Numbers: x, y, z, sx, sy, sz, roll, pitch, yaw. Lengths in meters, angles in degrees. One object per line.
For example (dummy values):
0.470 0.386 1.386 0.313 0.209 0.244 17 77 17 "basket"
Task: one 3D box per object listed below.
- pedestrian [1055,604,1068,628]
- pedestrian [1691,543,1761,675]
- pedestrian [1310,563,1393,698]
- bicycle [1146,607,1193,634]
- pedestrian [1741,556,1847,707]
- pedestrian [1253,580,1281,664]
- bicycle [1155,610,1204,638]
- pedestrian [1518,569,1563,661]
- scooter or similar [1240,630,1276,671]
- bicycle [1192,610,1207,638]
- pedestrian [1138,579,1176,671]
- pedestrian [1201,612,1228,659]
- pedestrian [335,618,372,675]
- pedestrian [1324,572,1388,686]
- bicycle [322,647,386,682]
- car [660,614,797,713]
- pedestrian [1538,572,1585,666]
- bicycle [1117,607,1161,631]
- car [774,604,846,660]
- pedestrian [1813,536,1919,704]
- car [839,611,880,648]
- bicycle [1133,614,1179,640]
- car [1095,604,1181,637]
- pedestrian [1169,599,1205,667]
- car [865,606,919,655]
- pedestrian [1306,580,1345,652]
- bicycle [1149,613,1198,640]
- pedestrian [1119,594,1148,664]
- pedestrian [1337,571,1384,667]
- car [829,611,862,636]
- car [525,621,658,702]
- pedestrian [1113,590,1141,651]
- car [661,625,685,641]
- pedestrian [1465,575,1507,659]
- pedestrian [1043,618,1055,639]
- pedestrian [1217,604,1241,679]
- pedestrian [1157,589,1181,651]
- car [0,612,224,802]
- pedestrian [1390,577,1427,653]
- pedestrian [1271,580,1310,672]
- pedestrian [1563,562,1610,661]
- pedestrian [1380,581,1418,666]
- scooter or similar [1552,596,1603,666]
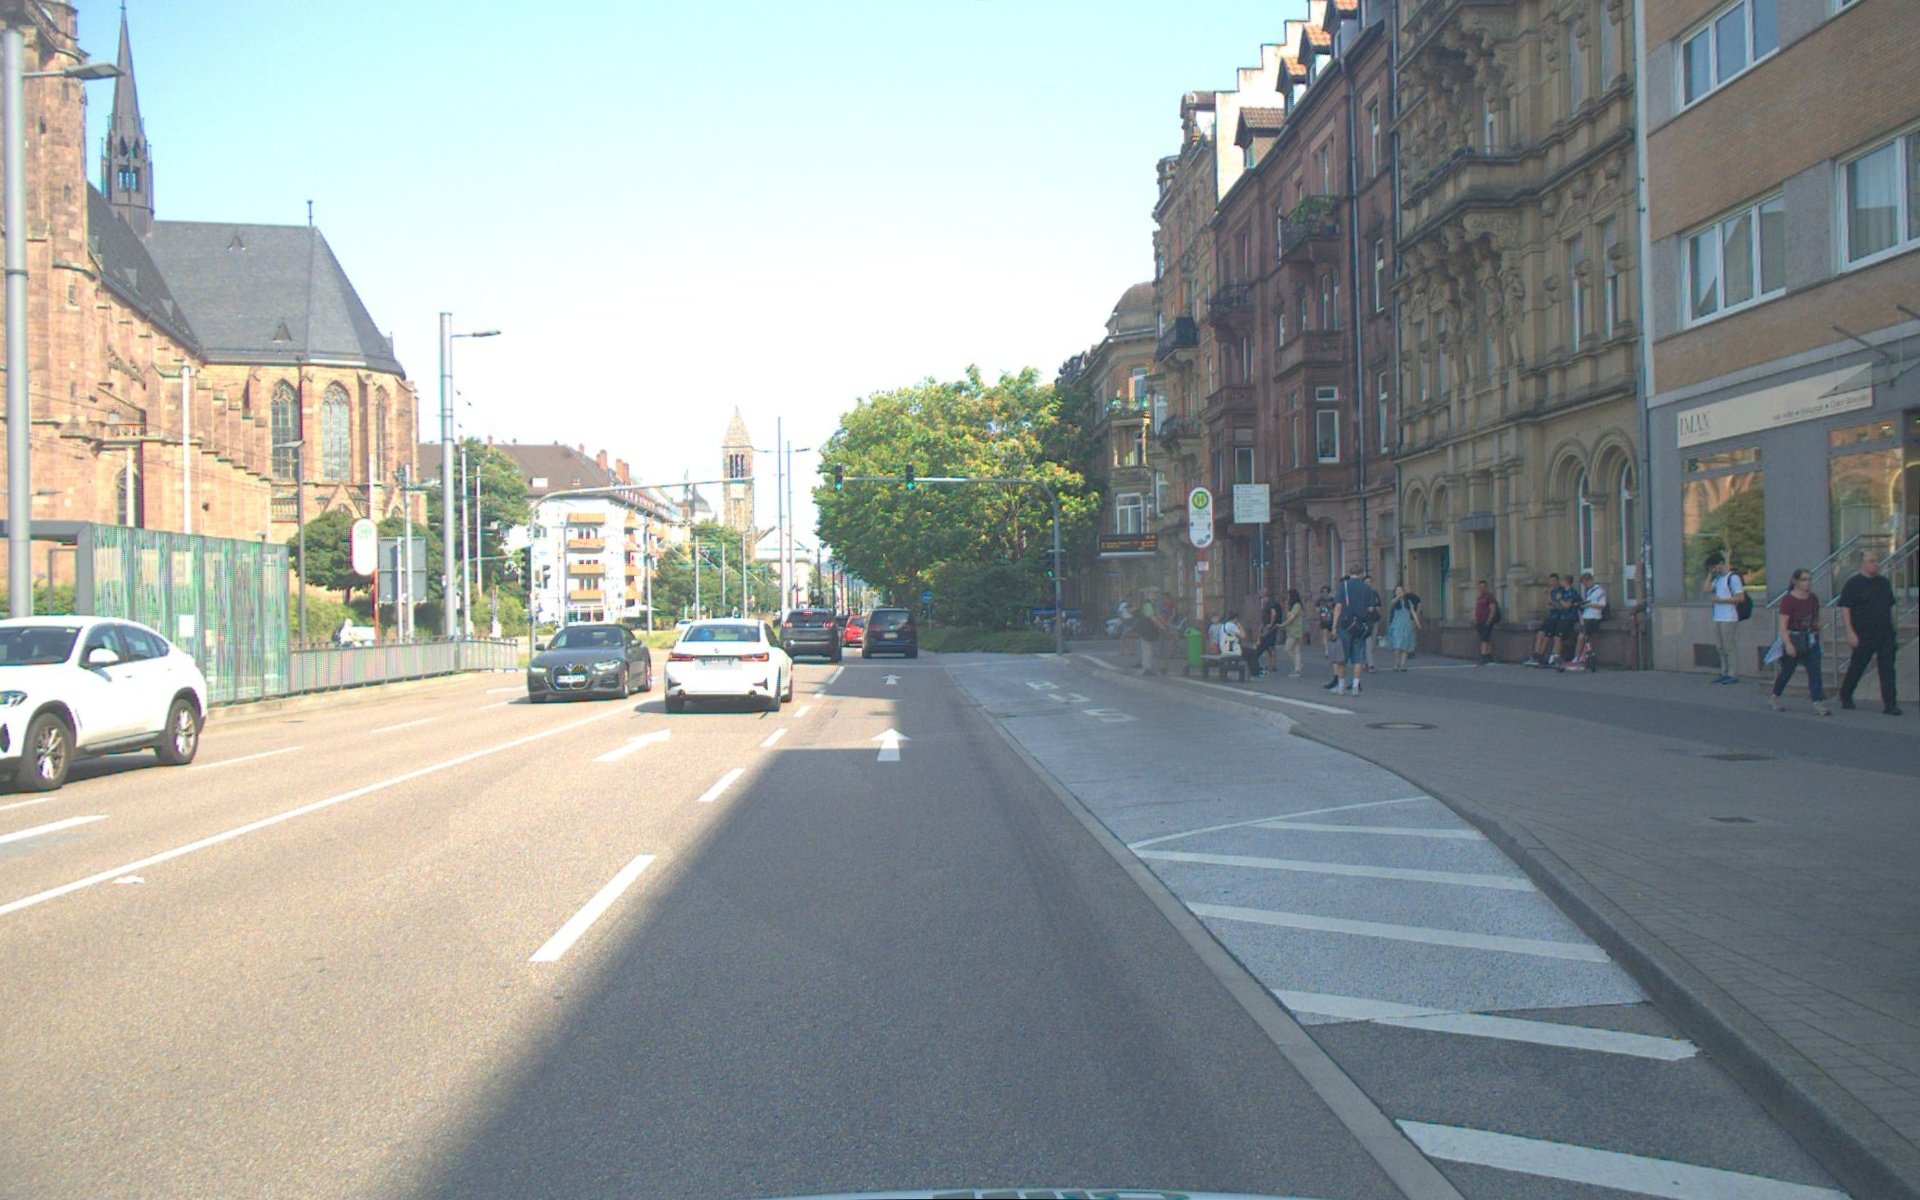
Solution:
5.489 0.868 89.528 0.586 1.270 0.506 -1 0 -3 "pedestrian"
11.060 0.132 23.896 0.591 1.864 0.741 -1 0 -6 "pedestrian"
5.588 0.427 23.639 0.907 1.864 0.800 -1 0 -6 "pedestrian"
8.849 0.865 69.807 1.892 1.066 0.499 -2 0 -8 "bicycle"
9.338 0.348 18.541 0.705 1.638 0.856 -1 -1 -1 "pedestrian"
6.574 0.467 35.449 0.334 1.763 0.804 -1 0 -5 "pedestrian"
8.875 0.954 66.871 1.892 1.066 0.499 -2 0 -8 "bicycle"
11.092 0.289 31.603 0.591 1.721 0.586 -1 0 -6 "pedestrian"
5.795 0.980 32.147 0.554 0.754 0.514 -1 0 -6 "scooter or similar"
9.417 0.942 65.094 0.408 1.066 1.670 -1 0 3 "bicycle"
3.840 0.481 32.336 0.554 1.759 0.744 -1 0 -6 "pedestrian"
4.640 0.641 30.204 0.297 0.834 0.603 -1 0 -9 "pedestrian"
-18.406 1.405 50.209 0.898 1.709 0.602 -1 0 -4 "pedestrian"
6.302 0.455 26.345 0.735 1.759 0.800 -1 0 -6 "pedestrian"
-18.384 1.949 50.204 1.724 0.995 0.479 -2 0 -4 "bicycle"
-3.730 0.982 27.412 1.773 1.452 4.772 1 0 -2 "car"
11.258 0.356 30.955 0.591 1.721 0.586 -1 0 -6 "pedestrian"
8.142 0.861 75.289 1.892 1.066 0.526 -2 0 -8 "bicycle"
-4.603 0.957 51.256 1.953 1.649 4.355 0 0 -2 "car"
10.137 0.224 18.497 0.705 1.819 0.856 -1 -1 -1 "pedestrian"
-4.698 1.365 78.033 1.795 1.649 4.355 0 0 -2 "car"
8.515 1.171 72.018 1.892 1.066 0.526 -2 0 -8 "bicycle"
9.250 1.063 86.127 4.100 1.590 1.997 -2 0 -7 "car"
4.435 0.633 32.312 0.554 1.300 0.596 -1 0 -6 "pedestrian"
-2.352 1.023 57.680 1.795 1.649 4.355 0 0 -2 "car"
9.065 0.395 41.044 0.687 1.755 0.897 -1 0 -3 "pedestrian"
8.723 1.082 67.632 1.892 1.066 0.499 -2 0 -8 "bicycle"
4.169 0.693 39.705 0.518 1.640 0.702 -1 0 -6 "pedestrian"
7.820 0.368 32.338 0.604 1.835 1.071 -1 -1 -1 "pedestrian"
-6.862 1.391 99.240 1.826 1.449 4.355 0 0 -2 "car"
-7.029 1.133 31.965 1.679 1.354 4.518 -3 0 -2 "car"
4.719 0.568 46.845 0.676 1.693 0.619 -1 0 -2 "pedestrian"
-29.520 3.429 170.357 1.954 1.526 3.996 -2 0 -4 "car"
10.698 0.343 33.633 0.591 1.683 0.586 -1 0 -6 "pedestrian"
4.708 1.506 87.573 0.439 1.089 0.481 -1 -1 -33 "pedestrian"
4.774 0.730 29.330 0.270 1.296 0.447 -1 0 -9 "pedestrian"
5.865 0.563 46.443 0.472 1.732 0.702 -1 0 -5 "pedestrian"
-9.191 0.985 16.614 1.679 1.640 4.502 -3 0 -2 "car"
10.515 0.345 38.782 0.617 1.749 0.690 -1 0 -3 "pedestrian"
6.444 0.510 32.236 0.554 1.759 0.616 -1 0 -6 "pedestrian"
11.331 0.208 29.906 0.591 1.761 0.510 -1 0 -6 "pedestrian"
8.662 0.467 32.638 0.476 1.638 0.812 -1 -1 -1 "pedestrian"
10.690 0.531 28.666 0.353 1.183 1.151 -1 0 -5 "scooter or similar"
